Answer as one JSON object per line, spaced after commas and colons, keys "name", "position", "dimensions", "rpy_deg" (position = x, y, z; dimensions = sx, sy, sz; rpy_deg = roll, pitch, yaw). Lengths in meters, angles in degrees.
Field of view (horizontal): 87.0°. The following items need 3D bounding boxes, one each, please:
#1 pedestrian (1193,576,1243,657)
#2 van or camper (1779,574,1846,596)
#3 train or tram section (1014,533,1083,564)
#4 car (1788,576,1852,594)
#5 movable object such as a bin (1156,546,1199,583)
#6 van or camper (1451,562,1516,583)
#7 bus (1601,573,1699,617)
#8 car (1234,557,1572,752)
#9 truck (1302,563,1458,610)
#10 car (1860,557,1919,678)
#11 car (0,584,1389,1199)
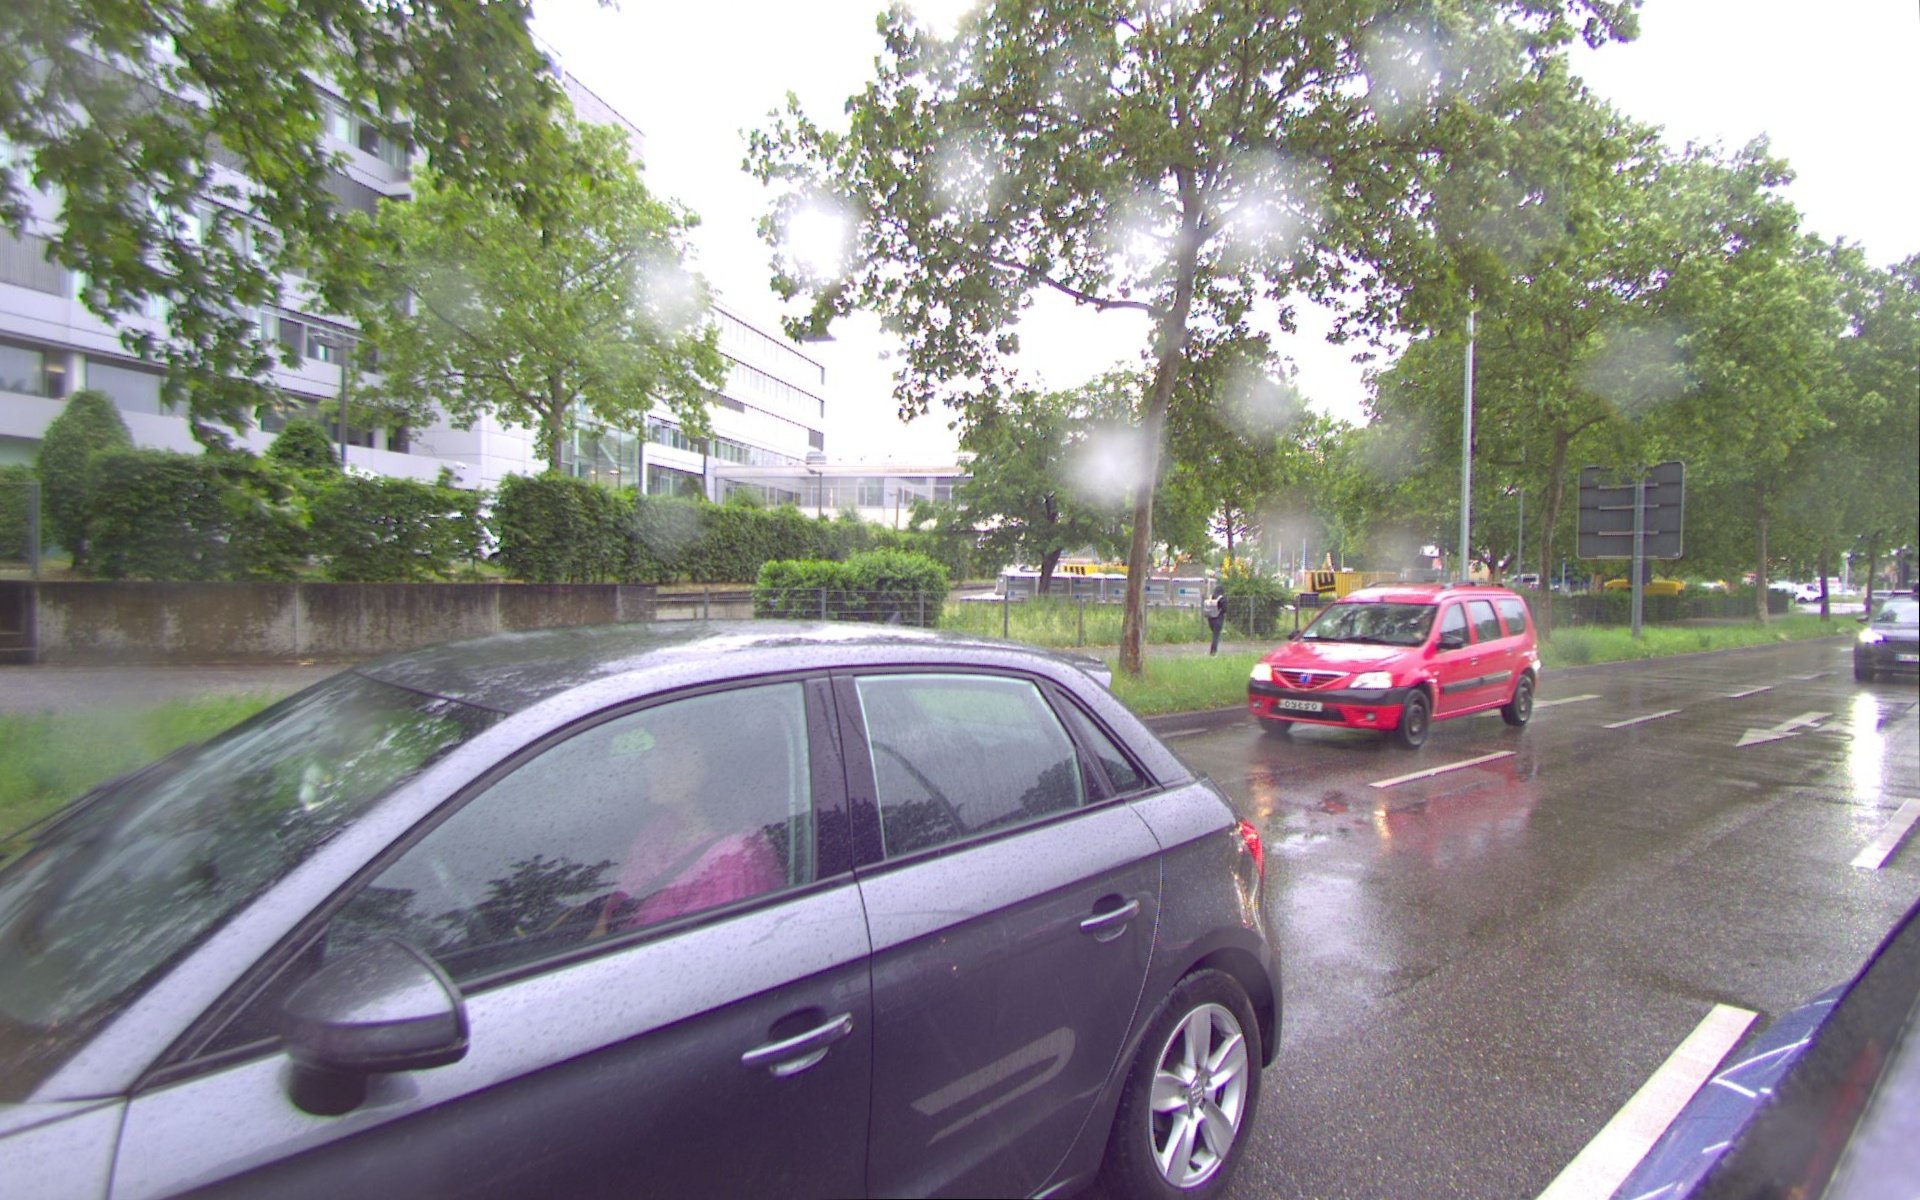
{"name": "pedestrian", "position": [5.793, 0.351, 22.711], "dimensions": [0.664, 1.784, 1.059], "rpy_deg": [1, 1, 43]}
{"name": "van or camper", "position": [86.816, -1.569, 103.167], "dimensions": [4.830, 2.114, 1.863], "rpy_deg": [2, 2, 11]}
{"name": "train or tram section", "position": [10.893, -6.324, 124.888], "dimensions": [8.238, 3.563, 2.393], "rpy_deg": [-1, 1, 11]}
{"name": "car", "position": [85.141, -1.518, 100.269], "dimensions": [4.391, 1.693, 1.863], "rpy_deg": [2, 2, 11]}
{"name": "movable object such as a bin", "position": [22.397, -3.690, 104.415], "dimensions": [3.253, 3.670, 3.618], "rpy_deg": [0, 2, -6]}
{"name": "van or camper", "position": [83.991, -4.408, 162.476], "dimensions": [8.846, 3.196, 2.976], "rpy_deg": [0, 2, 14]}
{"name": "bus", "position": [43.665, -0.375, 64.147], "dimensions": [1.964, 2.680, 4.803], "rpy_deg": [0, 1, -39]}
{"name": "car", "position": [5.120, 0.456, 11.398], "dimensions": [4.478, 1.791, 1.699], "rpy_deg": [-1, 2, -41]}
{"name": "truck", "position": [28.303, -0.931, 68.746], "dimensions": [9.359, 3.069, 3.070], "rpy_deg": [0, 2, 14]}
{"name": "car", "position": [18.914, 0.295, 19.371], "dimensions": [4.478, 2.159, 1.934], "rpy_deg": [-1, 0, -41]}
{"name": "car", "position": [-0.843, 0.701, 2.392], "dimensions": [3.932, 1.470, 1.996], "rpy_deg": [-1, 1, -43]}
